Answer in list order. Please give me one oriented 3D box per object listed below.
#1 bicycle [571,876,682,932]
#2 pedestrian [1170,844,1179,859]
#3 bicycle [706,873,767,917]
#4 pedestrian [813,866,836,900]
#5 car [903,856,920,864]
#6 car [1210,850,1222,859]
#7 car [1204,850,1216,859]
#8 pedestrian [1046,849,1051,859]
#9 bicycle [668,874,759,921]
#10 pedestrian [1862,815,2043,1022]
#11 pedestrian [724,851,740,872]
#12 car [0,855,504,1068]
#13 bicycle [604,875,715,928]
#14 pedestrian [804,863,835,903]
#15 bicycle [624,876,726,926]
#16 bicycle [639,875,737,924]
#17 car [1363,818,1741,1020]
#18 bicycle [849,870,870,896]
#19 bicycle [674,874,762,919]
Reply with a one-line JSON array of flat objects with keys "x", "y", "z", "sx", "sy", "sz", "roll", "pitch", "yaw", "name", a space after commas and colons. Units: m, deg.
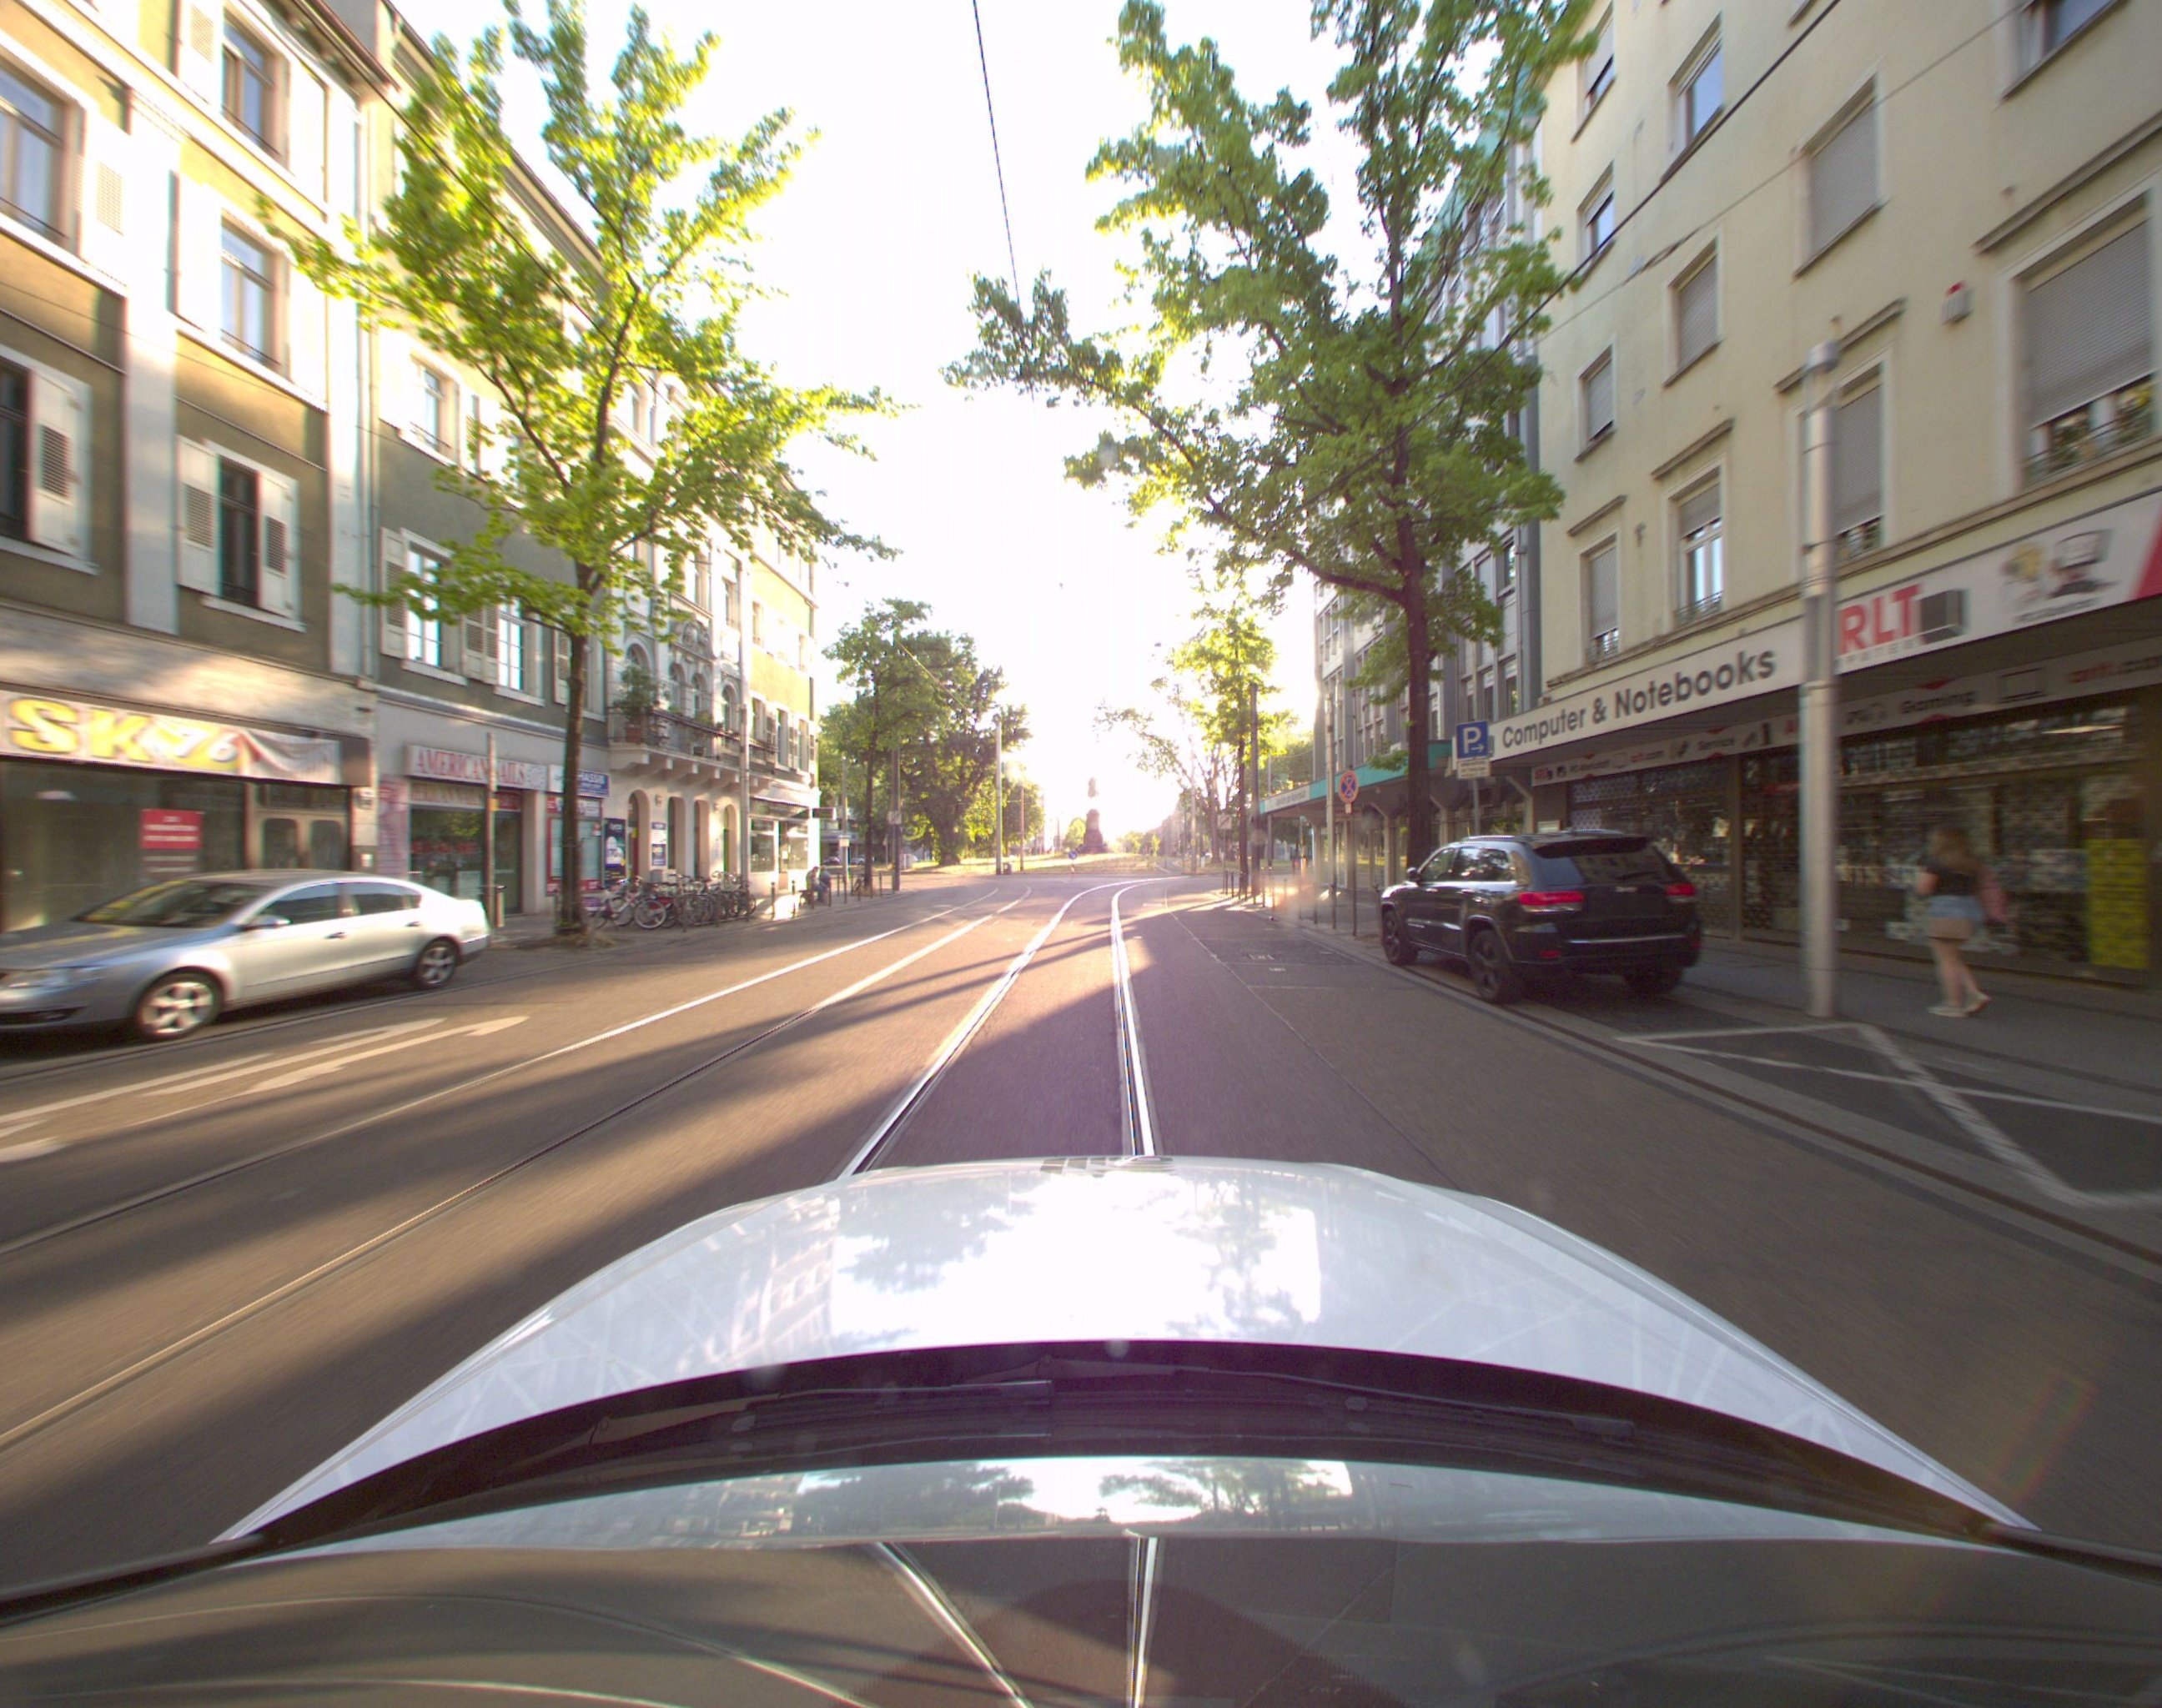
[{"x": -9.522, "y": 1.042, "z": 17.152, "sx": 1.954, "sy": 1.105, "sz": 0.563, "roll": 1, "pitch": -1, "yaw": -24, "name": "bicycle"}, {"x": 10.213, "y": -0.236, "z": 88.847, "sx": 0.776, "sy": 1.606, "sz": 0.631, "roll": -1, "pitch": 0, "yaw": -41, "name": "pedestrian"}, {"x": -9.137, "y": 1.065, "z": 21.582, "sx": 2.004, "sy": 1.105, "sz": 0.504, "roll": 0, "pitch": -1, "yaw": 36, "name": "bicycle"}, {"x": -9.022, "y": 1.016, "z": 28.649, "sx": 0.589, "sy": 1.194, "sz": 0.642, "roll": 0, "pitch": 0, "yaw": -1, "name": "pedestrian"}, {"x": -29.745, "y": 1.012, "z": 142.873, "sx": 1.868, "sy": 1.420, "sz": 3.930, "roll": -1, "pitch": 0, "yaw": 4, "name": "car"}, {"x": 29.474, "y": 0.145, "z": 177.586, "sx": 2.130, "sy": 2.013, "sz": 4.002, "roll": 0, "pitch": 0, "yaw": 2, "name": "car"}, {"x": 29.710, "y": 0.054, "z": 187.314, "sx": 2.130, "sy": 2.013, "sz": 4.002, "roll": 0, "pitch": 0, "yaw": 2, "name": "car"}, {"x": -5.323, "y": 0.042, "z": 133.391, "sx": 0.768, "sy": 1.606, "sz": 0.637, "roll": -1, "pitch": 0, "yaw": -5, "name": "pedestrian"}, {"x": -9.072, "y": 1.073, "z": 20.122, "sx": 2.014, "sy": 1.105, "sz": 0.501, "roll": 1, "pitch": -1, "yaw": 4, "name": "bicycle"}, {"x": 7.561, "y": 0.532, "z": 7.108, "sx": 0.641, "sy": 1.670, "sz": 0.786, "roll": -4, "pitch": 0, "yaw": 1, "name": "pedestrian"}, {"x": -23.181, "y": 0.499, "z": 54.055, "sx": 0.762, "sy": 1.410, "sz": 0.750, "roll": -1, "pitch": 0, "yaw": 44, "name": "pedestrian"}, {"x": -8.923, "y": 0.848, "z": 8.772, "sx": 1.829, "sy": 1.580, "sz": 4.705, "roll": 3, "pitch": 0, "yaw": 2, "name": "car"}, {"x": -9.289, "y": 1.041, "z": 18.020, "sx": 2.117, "sy": 1.105, "sz": 0.497, "roll": 1, "pitch": -1, "yaw": -24, "name": "bicycle"}, {"x": -8.665, "y": 0.946, "z": 27.001, "sx": 0.726, "sy": 1.290, "sz": 0.856, "roll": 0, "pitch": 0, "yaw": -1, "name": "pedestrian"}, {"x": -9.254, "y": 1.065, "z": 18.644, "sx": 2.032, "sy": 1.105, "sz": 0.497, "roll": 1, "pitch": -1, "yaw": -24, "name": "bicycle"}, {"x": -9.239, "y": 1.077, "z": 19.245, "sx": 2.032, "sy": 1.105, "sz": 0.497, "roll": 1, "pitch": -1, "yaw": -24, "name": "bicycle"}, {"x": 5.235, "y": 0.611, "z": 9.990, "sx": 1.931, "sy": 1.759, "sz": 4.681, "roll": -4, "pitch": 0, "yaw": 2, "name": "car"}, {"x": -8.790, "y": 1.143, "z": 32.310, "sx": 0.335, "sy": 0.946, "sz": 1.511, "roll": -1, "pitch": 0, "yaw": 3, "name": "bicycle"}, {"x": -9.213, "y": 1.072, "z": 20.711, "sx": 2.014, "sy": 1.105, "sz": 0.501, "roll": 1, "pitch": -1, "yaw": 4, "name": "bicycle"}]
